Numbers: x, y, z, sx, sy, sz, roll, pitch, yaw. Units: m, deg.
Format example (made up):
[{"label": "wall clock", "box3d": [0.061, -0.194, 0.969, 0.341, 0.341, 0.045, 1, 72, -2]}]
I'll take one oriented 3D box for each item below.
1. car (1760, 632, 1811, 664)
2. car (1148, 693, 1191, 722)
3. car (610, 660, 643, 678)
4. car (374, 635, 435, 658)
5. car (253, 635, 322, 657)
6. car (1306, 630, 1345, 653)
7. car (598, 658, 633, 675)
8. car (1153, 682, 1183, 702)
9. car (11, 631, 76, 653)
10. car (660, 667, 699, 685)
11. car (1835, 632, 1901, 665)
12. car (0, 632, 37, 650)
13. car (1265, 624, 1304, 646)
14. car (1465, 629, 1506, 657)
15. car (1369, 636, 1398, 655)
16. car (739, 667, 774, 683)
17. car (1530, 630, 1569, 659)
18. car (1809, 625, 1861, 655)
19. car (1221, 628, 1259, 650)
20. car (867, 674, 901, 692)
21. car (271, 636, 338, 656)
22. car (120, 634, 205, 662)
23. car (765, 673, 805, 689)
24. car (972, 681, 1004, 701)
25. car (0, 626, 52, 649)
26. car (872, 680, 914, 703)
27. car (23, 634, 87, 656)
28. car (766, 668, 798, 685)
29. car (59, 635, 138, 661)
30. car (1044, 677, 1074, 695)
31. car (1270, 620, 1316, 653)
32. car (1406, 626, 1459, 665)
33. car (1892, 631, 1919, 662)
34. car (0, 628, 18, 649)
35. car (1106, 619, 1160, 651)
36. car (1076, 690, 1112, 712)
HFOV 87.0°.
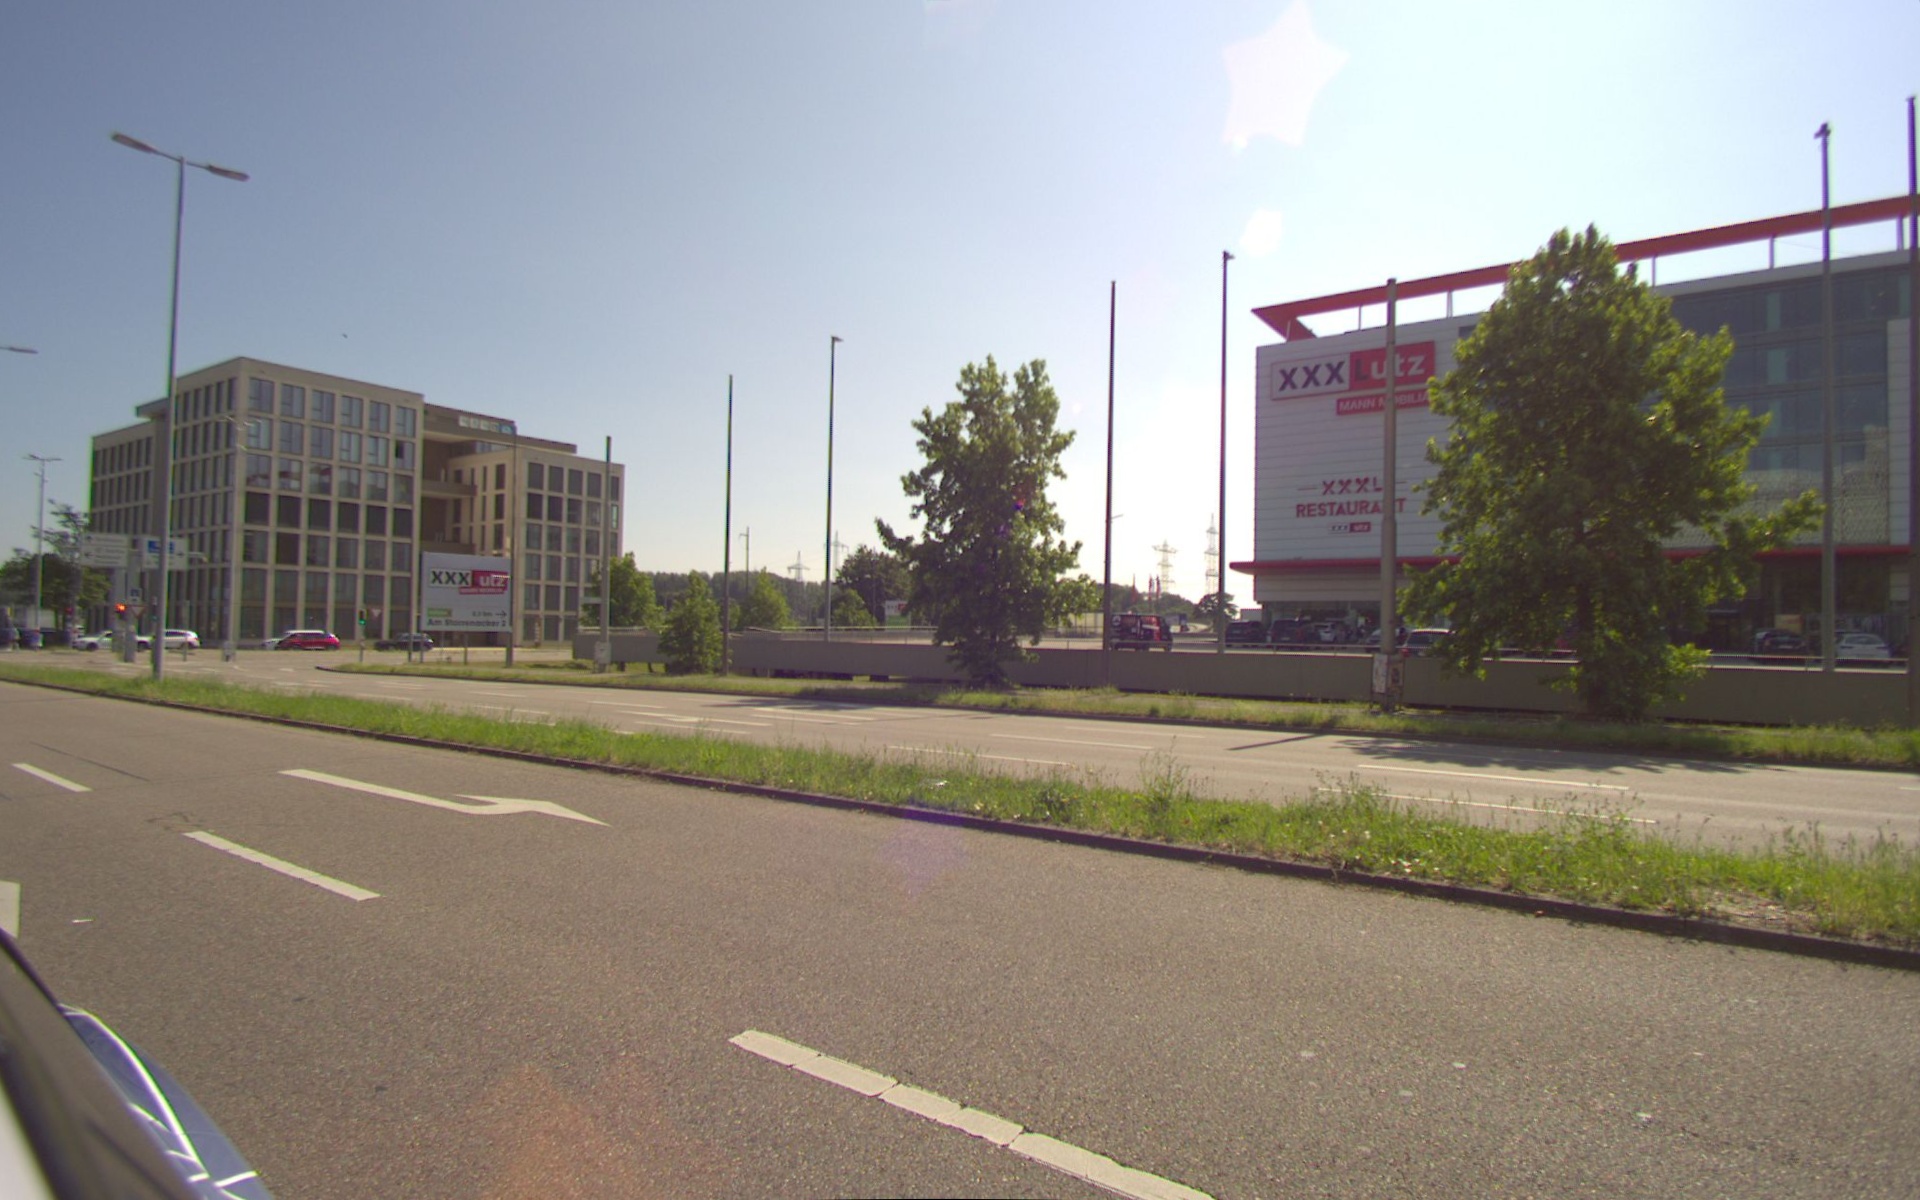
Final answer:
[{"label": "car", "box3d": [36.787, 2.145, 45.145, 1.512, 1.340, 3.061, 0, -2, 34]}, {"label": "car", "box3d": [8.361, 4.250, 40.324, 1.068, 0.983, 1.921, 0, -2, 33]}, {"label": "car", "box3d": [-17.645, 3.655, 53.523, 0.790, 0.889, 1.489, 0, -2, 33]}, {"label": "car", "box3d": [-48.023, 4.041, 87.516, 1.831, 1.903, 4.191, 0, -2, 36]}, {"label": "car", "box3d": [-53.568, 3.651, 80.695, 1.899, 1.724, 4.183, -1, -3, 33]}, {"label": "car", "box3d": [22.279, 2.518, 61.612, 1.512, 1.340, 3.061, 0, -2, 34]}, {"label": "car", "box3d": [-21.212, 4.113, 62.354, 0.887, 0.983, 1.921, -4, -4, 33]}, {"label": "car", "box3d": [11.810, 5.197, 57.471, 1.068, 0.983, 1.921, 0, -2, 33]}, {"label": "car", "box3d": [-81.373, 3.761, 89.924, 3.933, 1.841, 2.005, 3, -3, -34]}, {"label": "car", "box3d": [-16.229, 4.373, 58.582, 1.069, 1.016, 1.920, -3, -5, 35]}, {"label": "car", "box3d": [38.885, 2.073, 43.424, 1.700, 1.340, 3.061, 0, -2, 34]}, {"label": "car", "box3d": [-90.415, 3.877, 95.981, 3.933, 1.627, 2.005, 3, -3, -34]}, {"label": "car", "box3d": [20.447, 2.216, 63.776, 1.512, 1.340, 3.061, 0, -2, 34]}, {"label": "car", "box3d": [26.961, 2.191, 51.864, 1.512, 1.340, 3.187, 0, -2, 34]}, {"label": "car", "box3d": [22.666, 2.438, 54.142, 1.068, 0.983, 1.921, -4, -3, 33]}, {"label": "car", "box3d": [-12.840, 4.733, 63.936, 1.068, 0.983, 1.920, -1, -4, 34]}, {"label": "car", "box3d": [29.554, 2.220, 50.703, 1.512, 1.340, 3.187, 0, -2, 34]}, {"label": "car", "box3d": [41.578, 1.905, 48.136, 1.512, 1.340, 3.061, 0, -2, 34]}, {"label": "car", "box3d": [17.995, 2.490, 64.950, 1.512, 1.340, 2.985, 0, -2, 34]}, {"label": "car", "box3d": [-4.455, 4.856, 59.413, 1.068, 0.983, 1.921, 0, -2, 33]}, {"label": "car", "box3d": [-50.896, 3.585, 78.623, 1.526, 1.539, 4.073, -1, -3, 33]}, {"label": "car", "box3d": [-56.036, 3.371, 71.167, 2.020, 1.852, 4.266, 0, -2, 31]}, {"label": "car", "box3d": [-9.216, 4.259, 53.401, 0.904, 0.739, 2.064, 0, -2, 33]}, {"label": "car", "box3d": [1.530, 4.945, 55.246, 0.908, 0.983, 1.921, 0, -2, 33]}, {"label": "car", "box3d": [-87.040, 3.484, 93.801, 3.932, 2.029, 2.005, 3, -3, -33]}, {"label": "car", "box3d": [-3.231, 4.393, 48.929, 1.068, 0.983, 1.921, 0, -2, 33]}, {"label": "car", "box3d": [-78.729, 3.955, 88.120, 3.937, 1.751, 2.003, 4, -3, -40]}, {"label": "car", "box3d": [-10.977, 4.721, 62.514, 0.885, 0.983, 1.921, 0, -2, 33]}, {"label": "car", "box3d": [-59.875, 3.318, 70.371, 1.827, 1.725, 3.727, 0, -2, 30]}, {"label": "car", "box3d": [6.050, 5.255, 61.673, 1.068, 0.983, 1.921, 0, -2, 33]}, {"label": "car", "box3d": [18.906, 2.076, 57.443, 1.688, 1.771, 3.061, 0, -2, 34]}, {"label": "car", "box3d": [13.806, 1.331, 29.513, 1.068, 1.067, 2.493, 0, -2, 33]}, {"label": "car", "box3d": [43.569, 2.107, 45.708, 1.626, 1.340, 3.634, 0, -2, 34]}, {"label": "car", "box3d": [-93.208, 3.661, 96.948, 3.933, 2.029, 2.005, 3, -3, -34]}, {"label": "car", "box3d": [8.871, 1.804, 51.753, 1.770, 1.568, 2.743, -2, -4, 34]}, {"label": "car", "box3d": [6.810, 5.114, 51.316, 1.068, 0.983, 1.921, 0, -2, 33]}]
